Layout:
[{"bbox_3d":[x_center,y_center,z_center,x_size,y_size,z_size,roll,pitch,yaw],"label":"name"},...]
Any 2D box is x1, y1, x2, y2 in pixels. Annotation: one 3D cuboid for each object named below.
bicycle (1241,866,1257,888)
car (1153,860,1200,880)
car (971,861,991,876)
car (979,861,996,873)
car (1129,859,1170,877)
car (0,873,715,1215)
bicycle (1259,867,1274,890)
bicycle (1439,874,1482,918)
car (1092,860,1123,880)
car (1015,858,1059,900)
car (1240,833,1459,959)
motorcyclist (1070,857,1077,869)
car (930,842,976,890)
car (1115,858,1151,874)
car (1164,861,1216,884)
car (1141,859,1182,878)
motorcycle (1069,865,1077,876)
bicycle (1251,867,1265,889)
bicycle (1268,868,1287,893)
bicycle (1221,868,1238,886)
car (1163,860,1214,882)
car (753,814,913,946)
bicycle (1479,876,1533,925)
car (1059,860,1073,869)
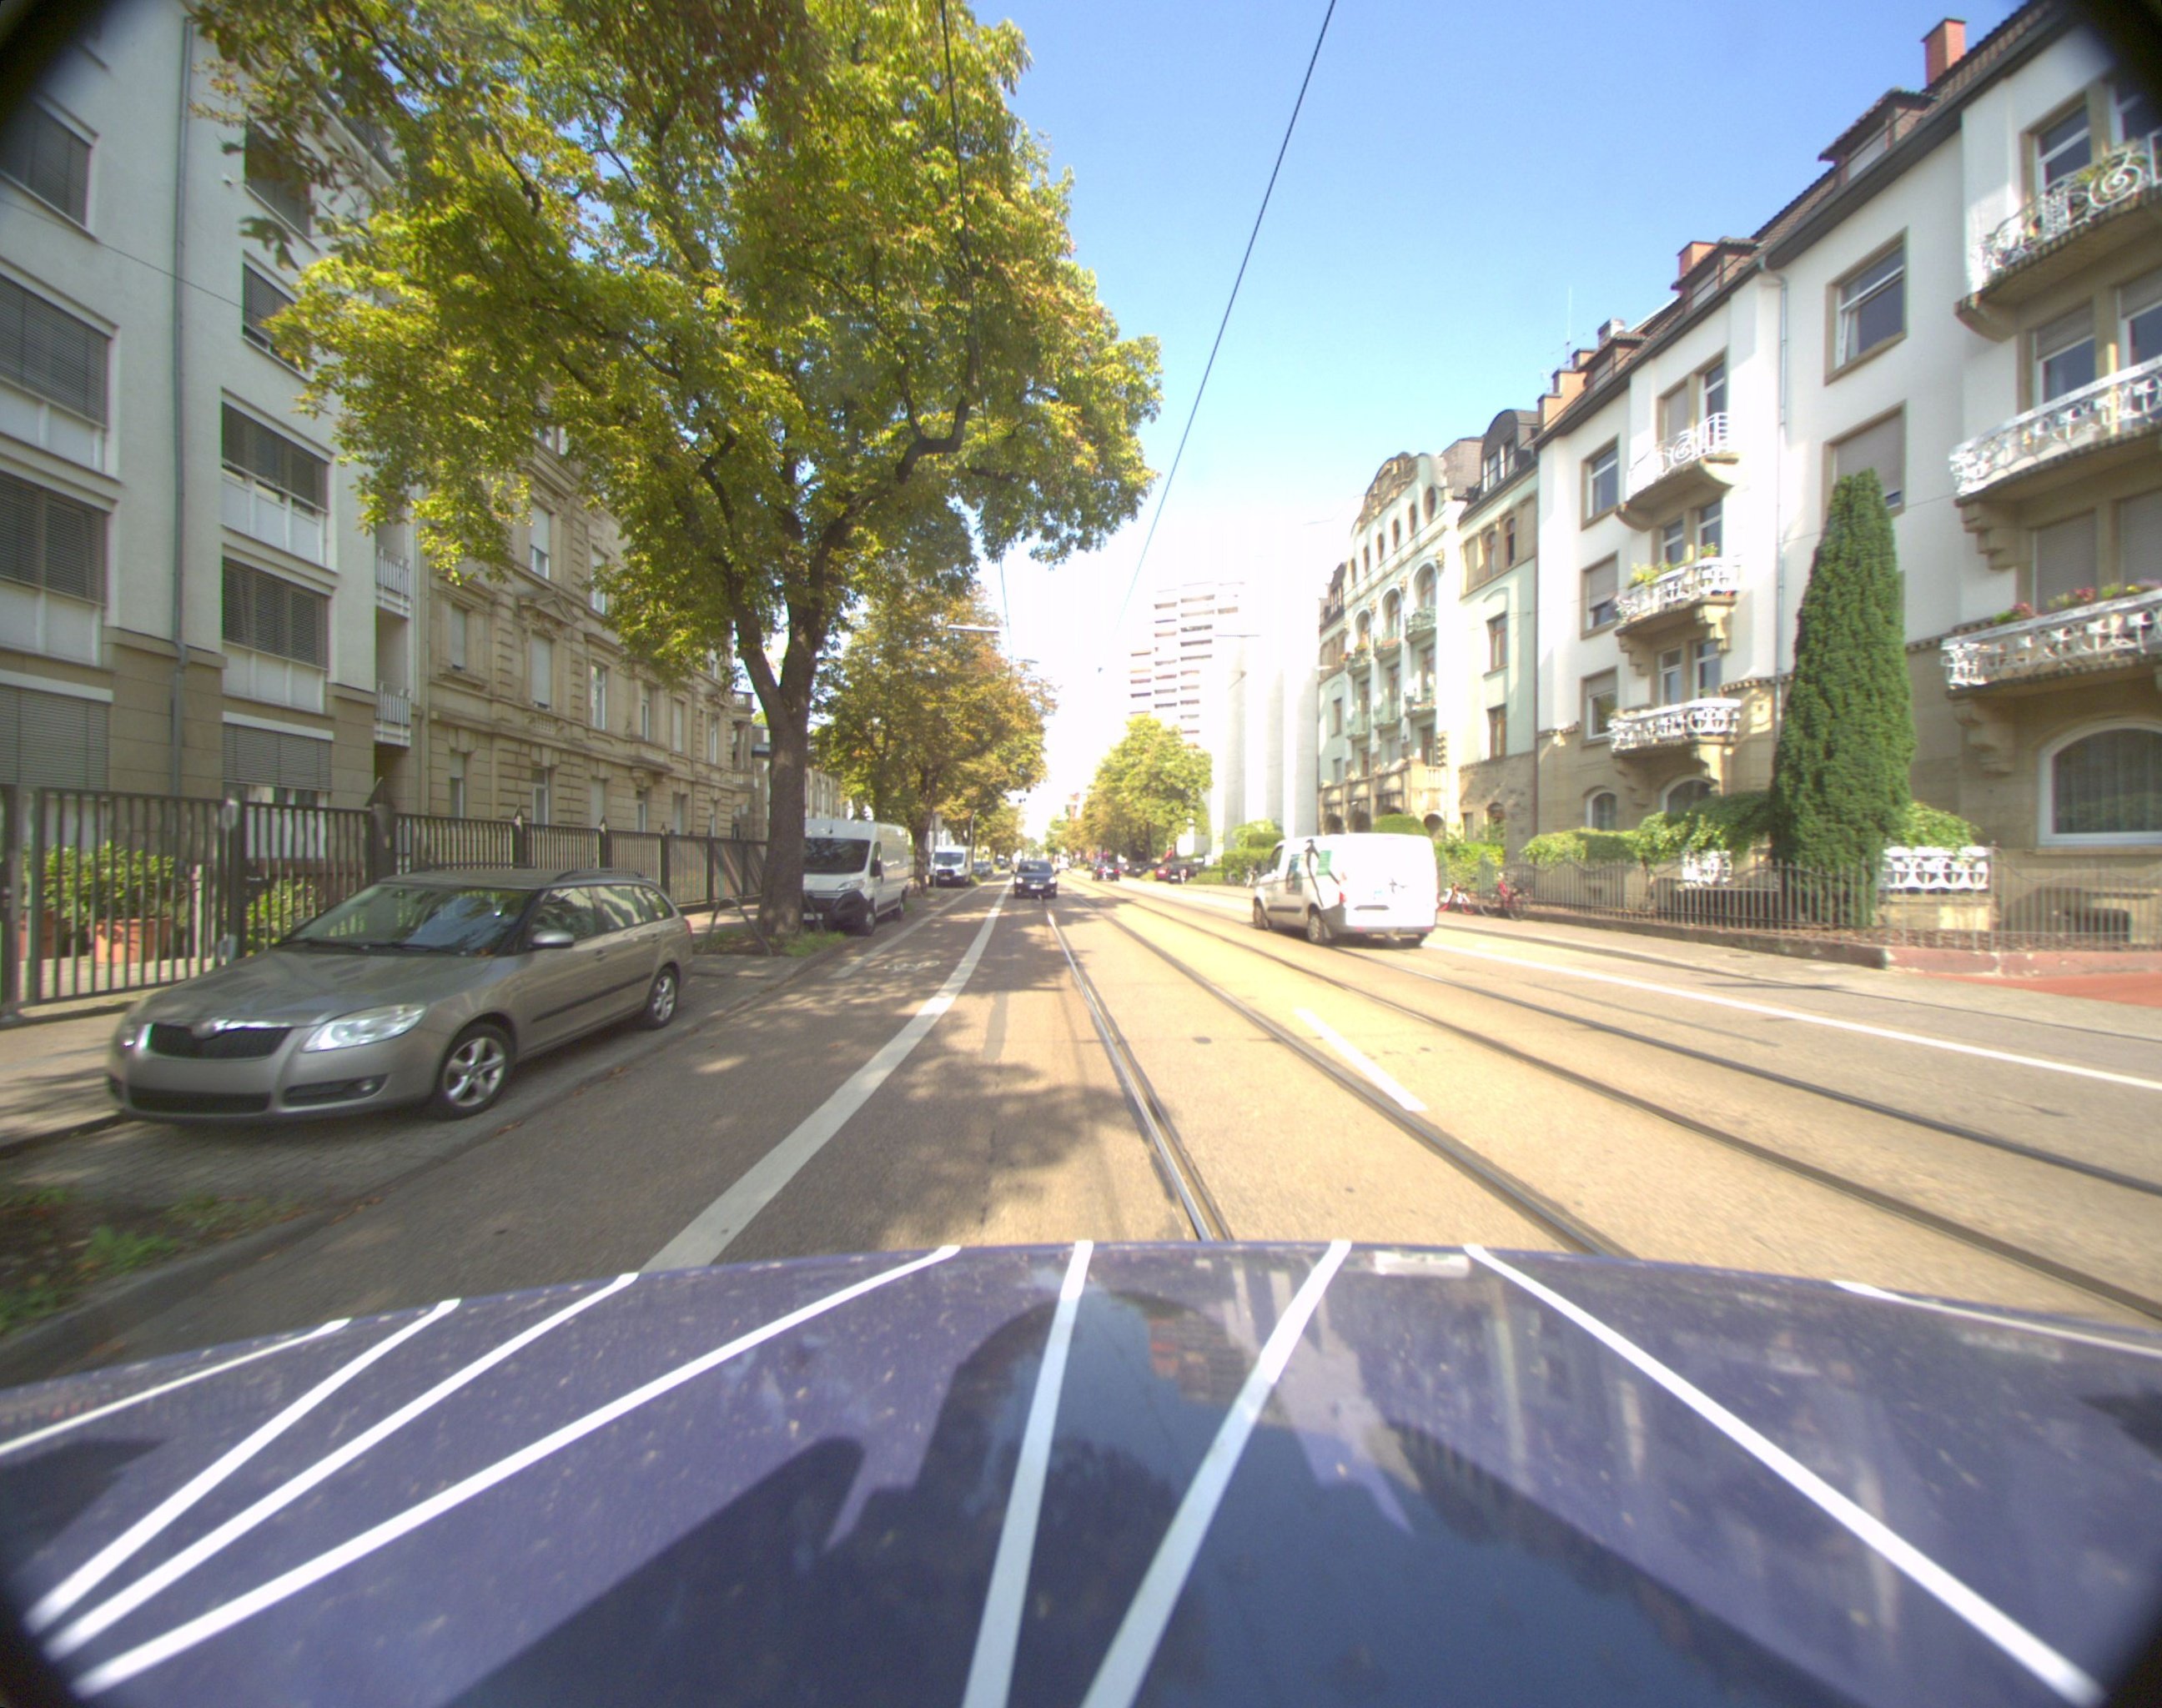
[{"bbox_3d":[8.728,1.175,39.515,0.425,1.081,1.676,0,0,-2],"label":"bicycle"},{"bbox_3d":[7.327,1.206,58.196,1.767,1.518,4.009,0,0,37],"label":"car"},{"bbox_3d":[-9.554,1.381,72.756,1.758,1.349,3.786,0,0,-5],"label":"car"},{"bbox_3d":[-10.621,1.447,86.306,1.758,1.349,3.786,0,0,-5],"label":"car"},{"bbox_3d":[6.210,1.222,68.458,1.767,1.518,4.009,0,0,37],"label":"car"},{"bbox_3d":[-4.600,0.999,5.893,1.611,1.515,4.355,3,0,-4],"label":"car"},{"bbox_3d":[8.959,1.180,36.704,0.425,1.081,1.677,0,0,5],"label":"bicycle"},{"bbox_3d":[10.018,1.096,20.103,0.371,1.081,1.354,0,0,-5],"label":"bicycle"},{"bbox_3d":[1.952,1.174,57.315,1.701,1.395,4.644,-2,0,-5],"label":"car"},{"bbox_3d":[-1.798,0.935,30.413,1.611,1.515,4.355,-1,0,-4],"label":"car"},{"bbox_3d":[4.914,0.704,14.842,2.000,2.002,4.856,2,0,-7],"label":"car"},{"bbox_3d":[-0.958,1.077,91.379,0.817,1.444,0.888,0,0,-2],"label":"motorcyclist"},{"bbox_3d":[-7.400,0.677,44.495,1.999,2.526,5.866,2,0,-4],"label":"car"},{"bbox_3d":[5.335,1.219,77.265,1.767,1.518,4.009,0,0,37],"label":"car"},{"bbox_3d":[7.453,1.217,51.559,1.767,1.518,4.009,0,0,37],"label":"car"},{"bbox_3d":[6.984,1.240,65.653,1.767,1.518,4.009,0,0,37],"label":"car"},{"bbox_3d":[-0.963,1.982,91.372,0.817,1.235,2.201,0,0,-2],"label":"motorcycle"},{"bbox_3d":[8.750,1.171,37.501,0.425,1.081,1.677,0,0,5],"label":"bicycle"},{"bbox_3d":[8.960,1.187,34.603,0.425,1.081,1.676,0,0,0],"label":"bicycle"},{"bbox_3d":[8.370,1.281,42.830,0.426,0.972,1.769,0,0,-5],"label":"bicycle"},{"bbox_3d":[7.877,1.194,55.386,1.767,1.518,4.009,0,0,42],"label":"car"},{"bbox_3d":[-5.407,0.513,17.598,2.052,2.484,6.226,1,0,-4],"label":"car"},{"bbox_3d":[10.233,1.097,18.339,0.371,1.081,1.487,0,0,-5],"label":"bicycle"},{"bbox_3d":[-2.134,1.516,110.423,1.758,1.349,3.786,0,0,-5],"label":"car"}]
